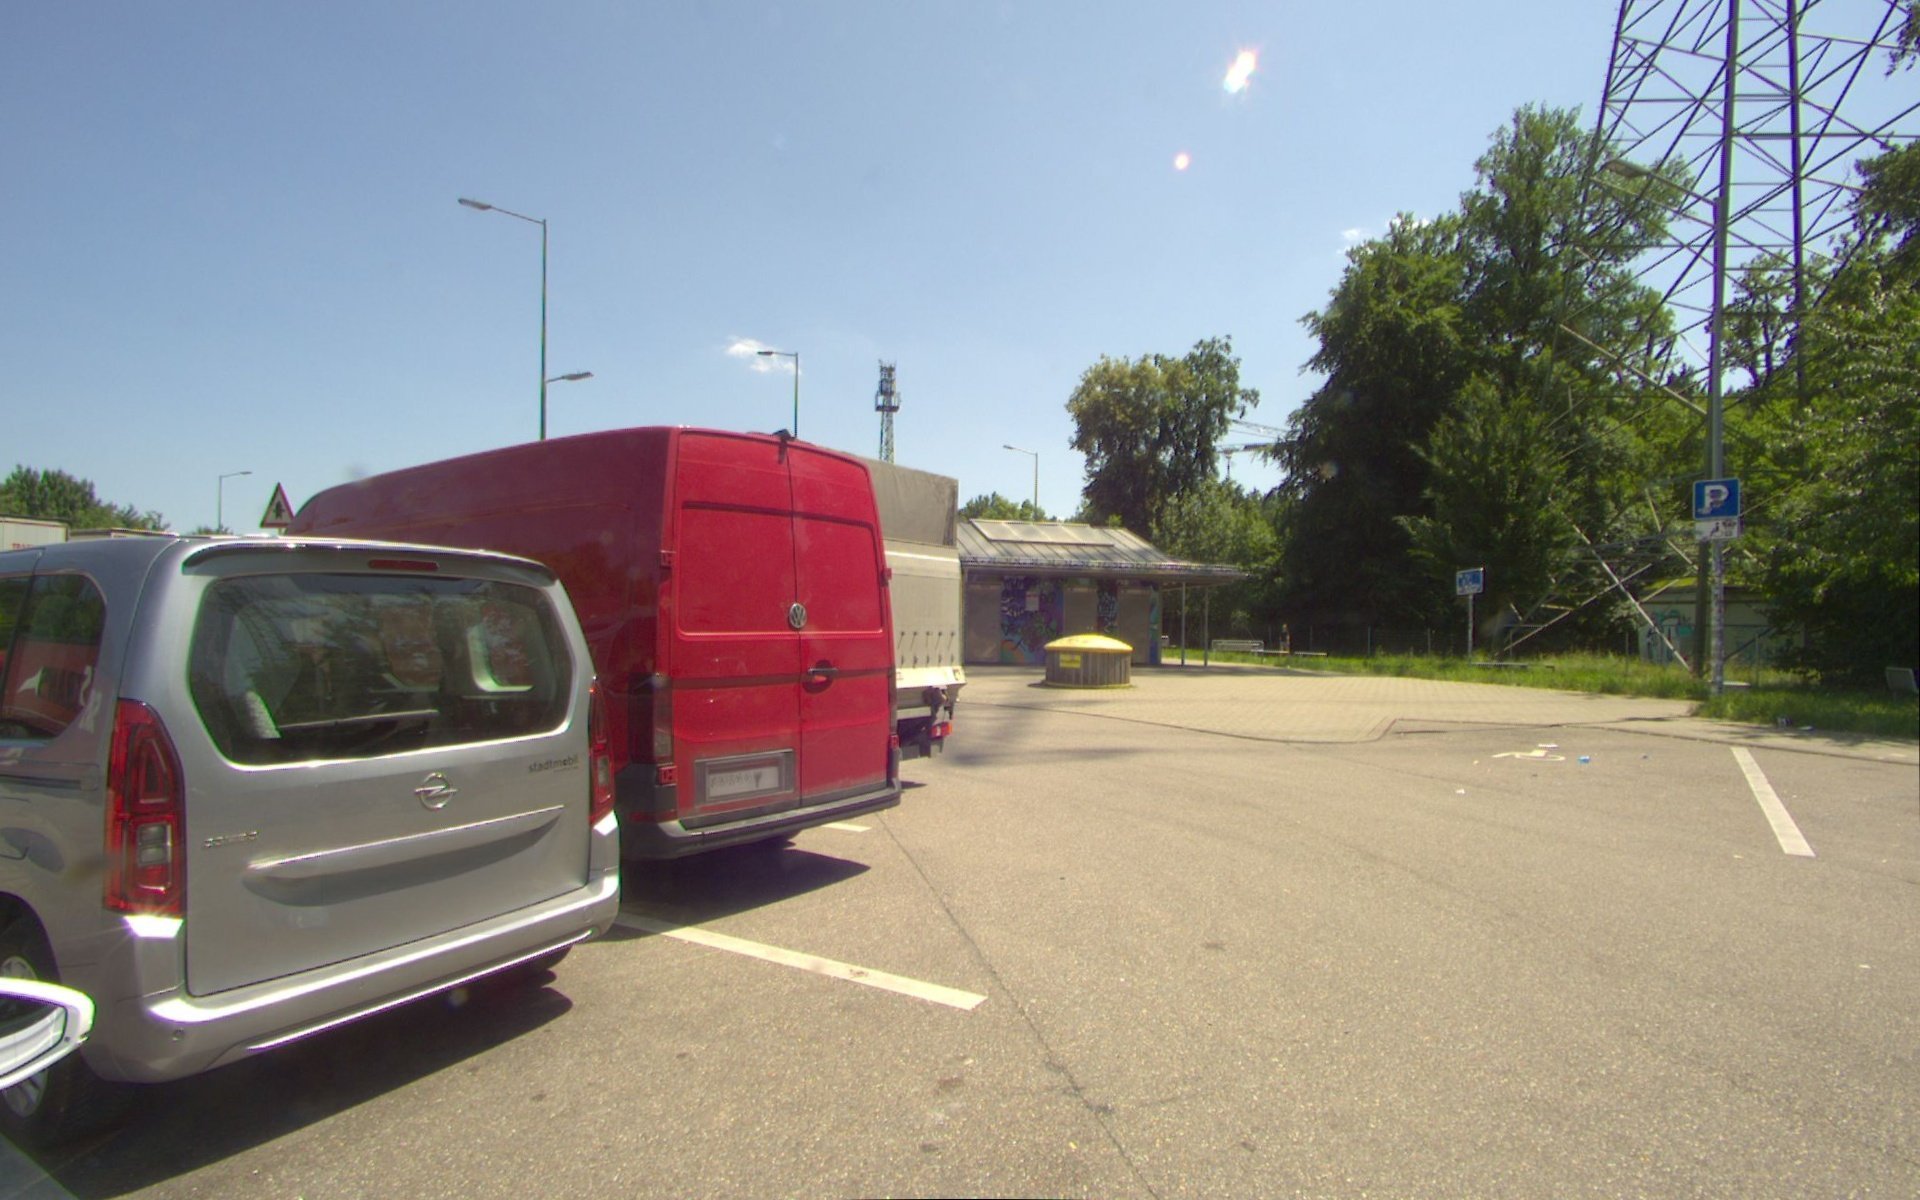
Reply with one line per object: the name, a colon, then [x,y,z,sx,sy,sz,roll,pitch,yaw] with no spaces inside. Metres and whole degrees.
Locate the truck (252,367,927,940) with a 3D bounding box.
truck: [-2.872,0.340,7.034,5.238,2.655,1.972,-2,-2,38]

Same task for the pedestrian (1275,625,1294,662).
pedestrian: [14.661,1.949,45.265,0.723,1.658,0.792,0,-1,12]

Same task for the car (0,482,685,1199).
car: [-3.365,0.690,4.235,4.113,1.887,1.868,1,-2,31]

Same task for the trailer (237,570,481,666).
trailer: [-26.077,0.644,42.892,14.184,3.552,2.808,2,-2,33]

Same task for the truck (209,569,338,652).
truck: [-32.071,0.466,46.750,5.813,3.566,2.799,2,-2,33]

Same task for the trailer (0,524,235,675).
trailer: [-27.932,-0.100,31.777,14.184,4.040,2.808,2,-2,33]

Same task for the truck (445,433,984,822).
truck: [-2.720,0.307,10.273,5.582,2.949,2.449,-2,-2,37]

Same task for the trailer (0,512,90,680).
trailer: [-28.996,-0.257,28.131,14.184,4.040,2.808,2,-2,33]
